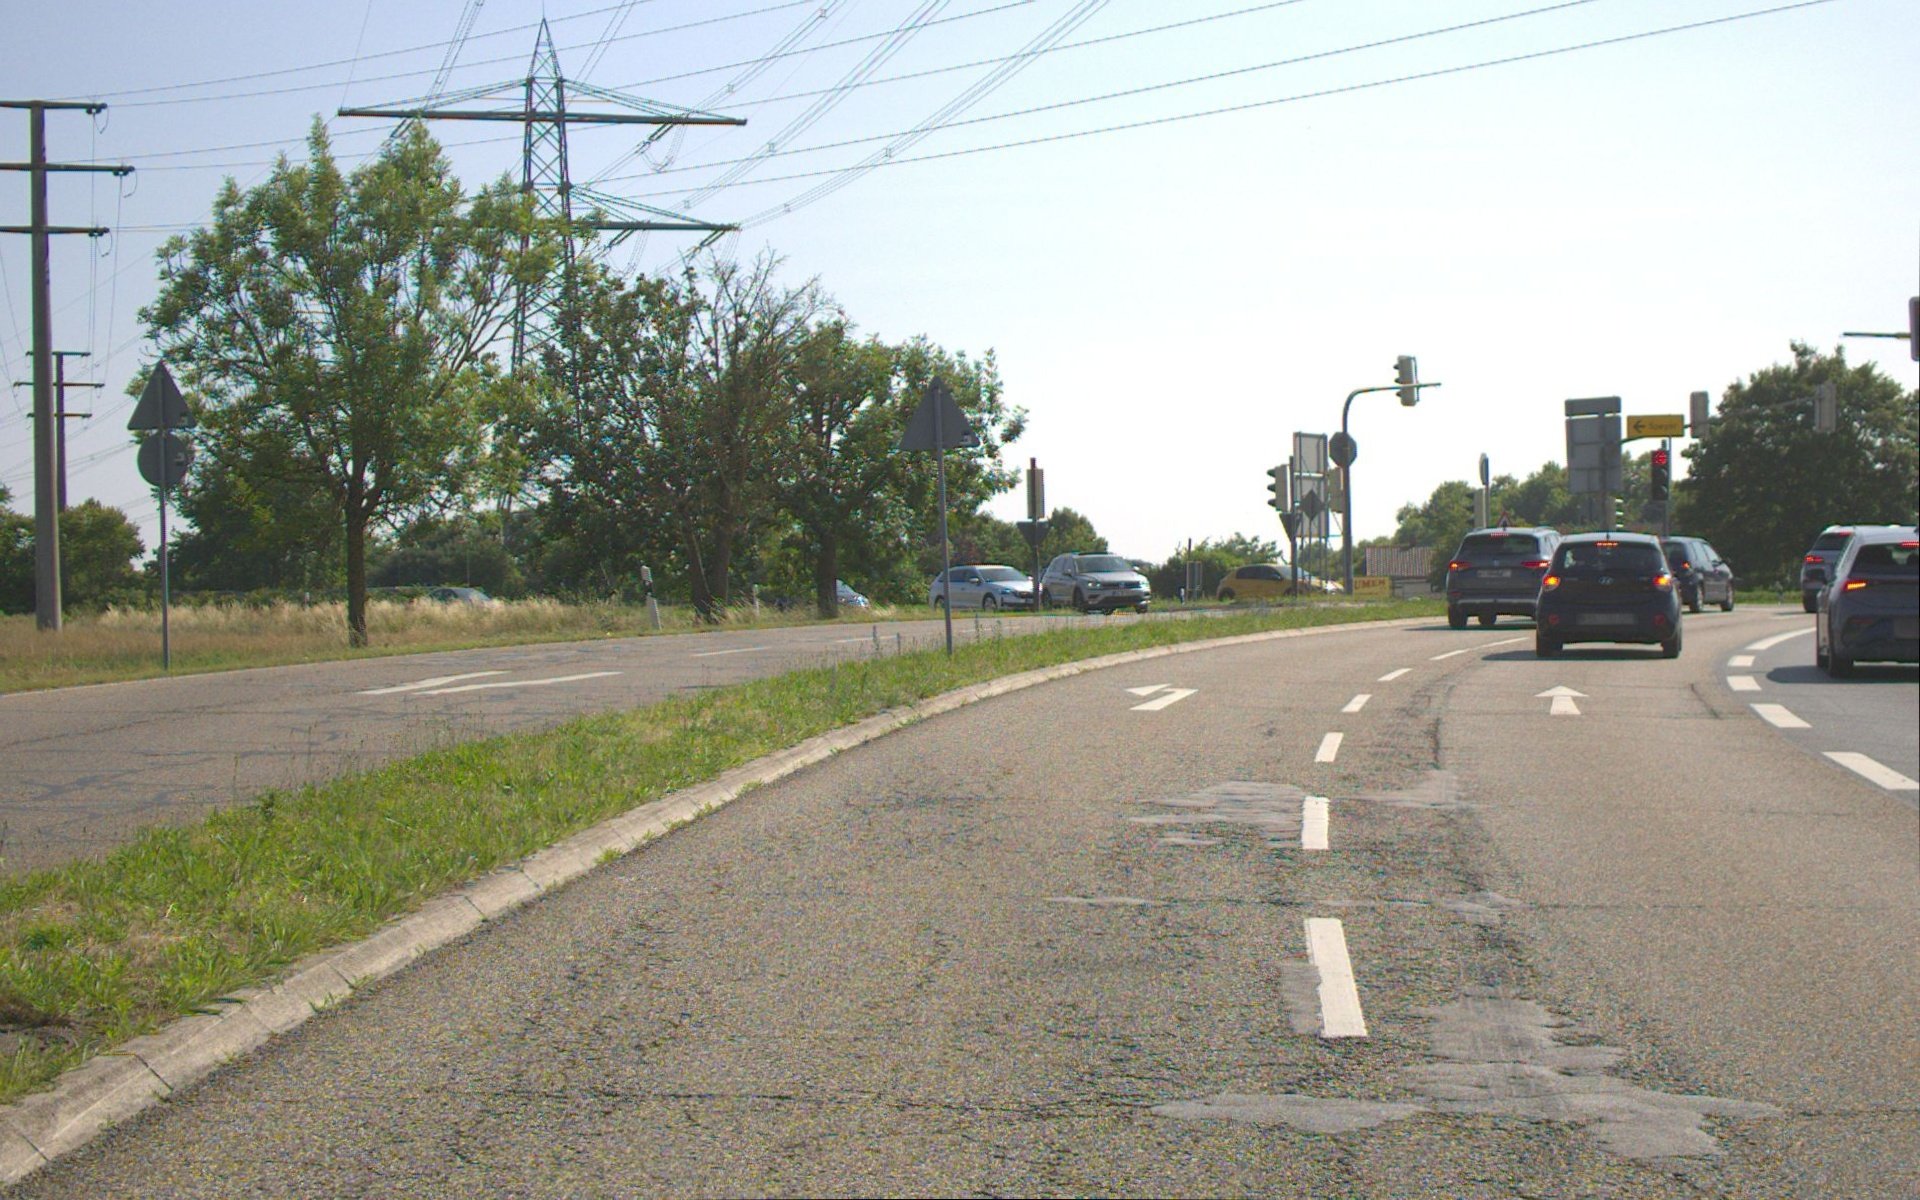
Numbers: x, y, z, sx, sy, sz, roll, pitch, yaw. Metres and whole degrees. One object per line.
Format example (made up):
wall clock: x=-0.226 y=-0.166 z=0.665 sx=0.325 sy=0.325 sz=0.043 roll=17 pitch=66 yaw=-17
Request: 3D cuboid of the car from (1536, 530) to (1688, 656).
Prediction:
car: x=7.905 y=-0.106 z=41.529 sx=1.634 sy=1.443 sz=3.293 roll=0 pitch=1 yaw=14

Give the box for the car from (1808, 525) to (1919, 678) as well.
car: x=9.884 y=-0.024 z=36.014 sx=1.774 sy=1.512 sz=4.097 roll=0 pitch=1 yaw=11

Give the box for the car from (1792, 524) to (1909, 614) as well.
car: x=17.034 y=-0.596 z=65.667 sx=1.635 sy=1.671 sz=3.745 roll=1 pitch=1 yaw=23

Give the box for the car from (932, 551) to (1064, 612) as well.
car: x=1.027 y=-0.505 z=94.992 sx=1.814 sy=1.645 sz=4.000 roll=-1 pitch=0 yaw=-30

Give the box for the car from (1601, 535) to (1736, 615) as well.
car: x=13.688 y=-0.486 z=66.291 sx=1.744 sy=1.479 sz=3.619 roll=1 pitch=1 yaw=25

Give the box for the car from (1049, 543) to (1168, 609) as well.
car: x=3.795 y=-0.606 z=88.699 sx=1.814 sy=1.645 sz=4.001 roll=-1 pitch=0 yaw=-17

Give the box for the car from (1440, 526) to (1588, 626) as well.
car: x=8.944 y=-0.407 z=55.323 sx=1.743 sy=1.563 sz=3.621 roll=0 pitch=1 yaw=19

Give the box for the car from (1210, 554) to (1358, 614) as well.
car: x=9.249 y=-0.447 z=98.291 sx=1.815 sy=1.645 sz=3.998 roll=-1 pitch=0 yaw=-42
